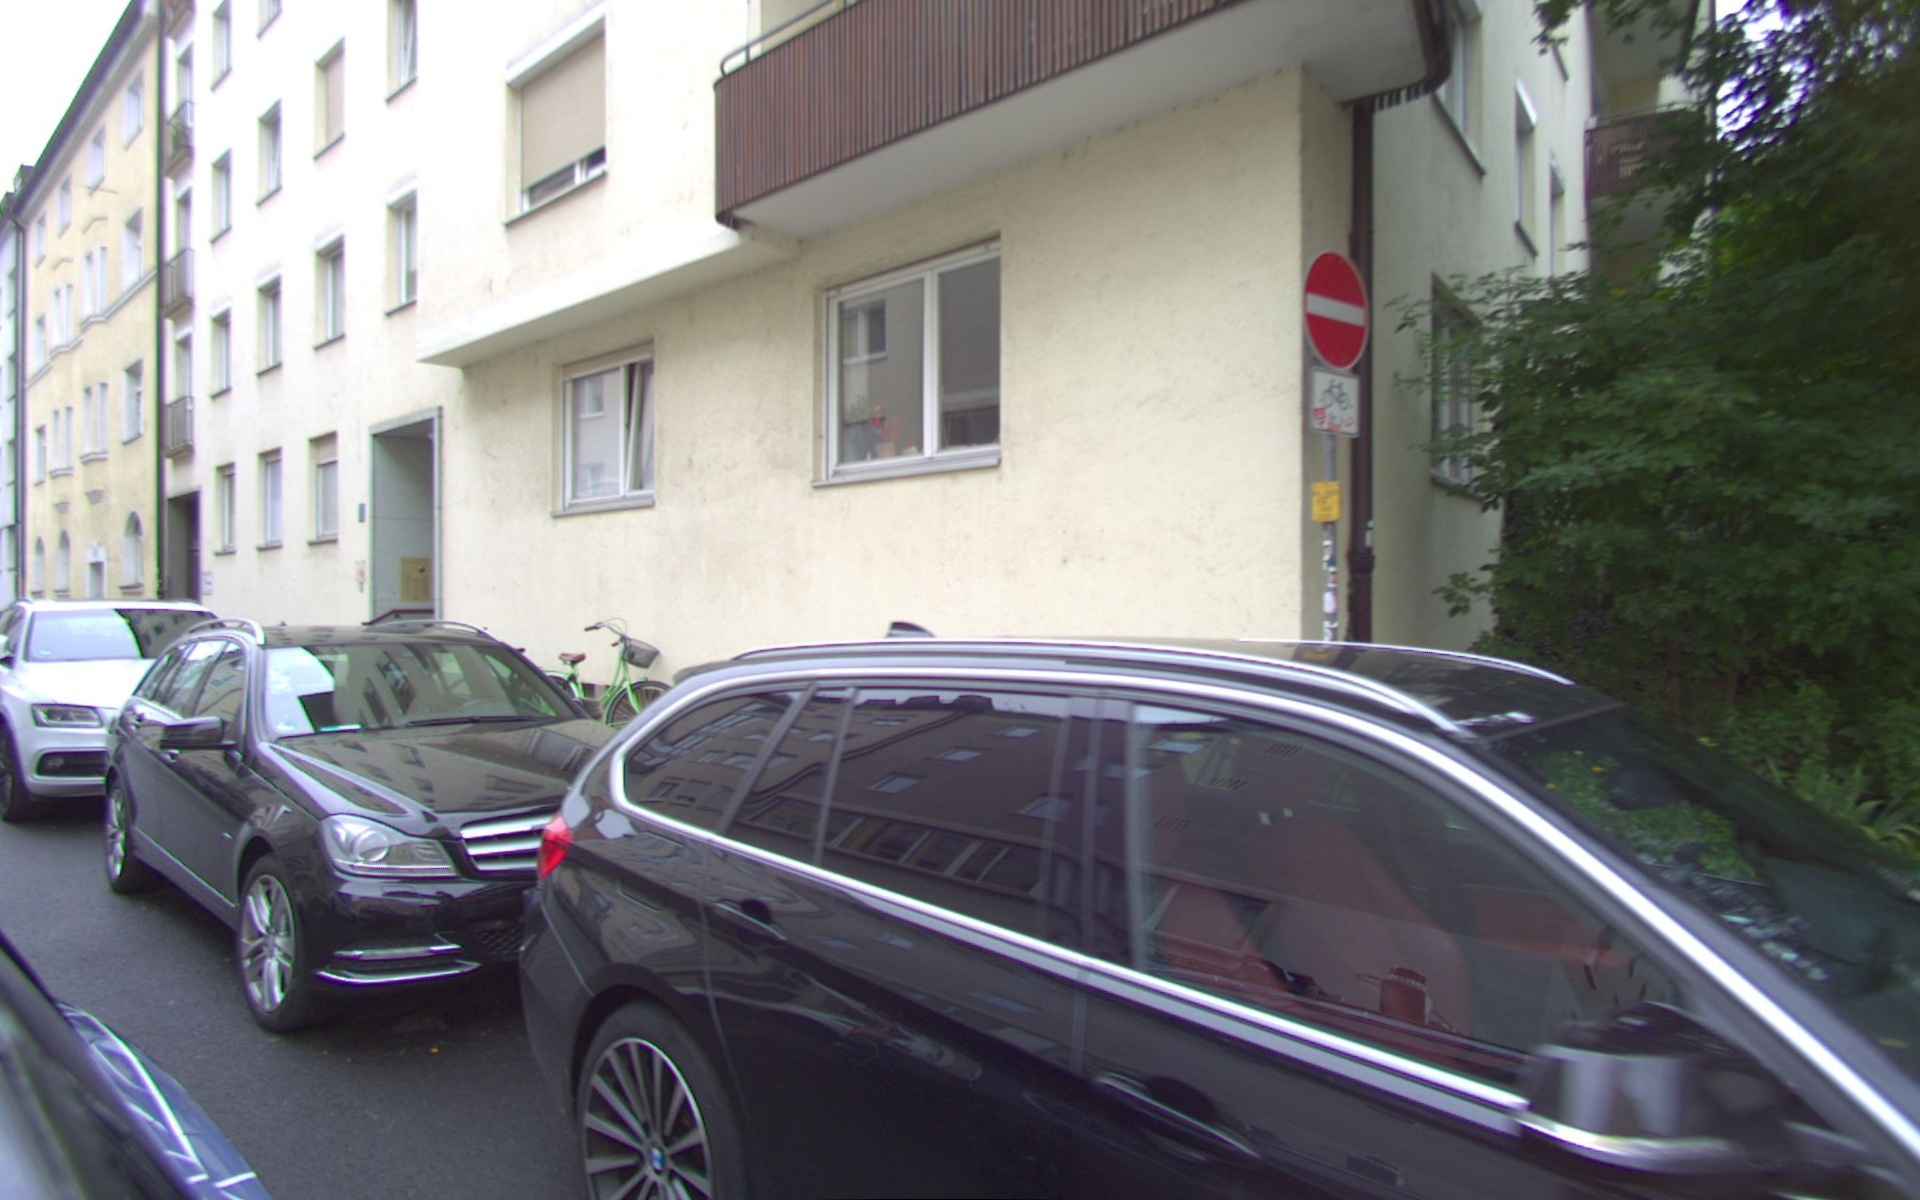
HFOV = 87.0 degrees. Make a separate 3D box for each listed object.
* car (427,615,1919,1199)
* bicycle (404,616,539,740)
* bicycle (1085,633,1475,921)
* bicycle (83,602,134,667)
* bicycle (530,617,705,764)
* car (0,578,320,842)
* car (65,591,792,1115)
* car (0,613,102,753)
[{"bbox_3d":[0.847,0.747,1.929,4.380,1.419,1.836,-1,-2,41],"label":"car"},{"bbox_3d":[-5.121,0.771,10.565,1.788,1.170,0.575,0,-2,41],"label":"bicycle"},{"bbox_3d":[1.527,0.771,5.051,1.788,1.170,0.529,0,-2,41],"label":"bicycle"},{"bbox_3d":[-18.475,0.729,21.947,1.550,1.288,0.529,2,3,39],"label":"bicycle"},{"bbox_3d":[-3.076,0.751,9.017,1.788,1.170,0.638,0,-2,41],"label":"bicycle"},{"bbox_3d":[-7.209,0.720,8.578,4.363,1.688,1.748,0,-1,40],"label":"car"},{"bbox_3d":[-2.928,0.738,5.031,4.422,1.494,1.747,0,-1,42],"label":"car"},{"bbox_3d":[-11.555,0.888,11.909,3.800,1.446,1.635,0,-1,41],"label":"car"}]
